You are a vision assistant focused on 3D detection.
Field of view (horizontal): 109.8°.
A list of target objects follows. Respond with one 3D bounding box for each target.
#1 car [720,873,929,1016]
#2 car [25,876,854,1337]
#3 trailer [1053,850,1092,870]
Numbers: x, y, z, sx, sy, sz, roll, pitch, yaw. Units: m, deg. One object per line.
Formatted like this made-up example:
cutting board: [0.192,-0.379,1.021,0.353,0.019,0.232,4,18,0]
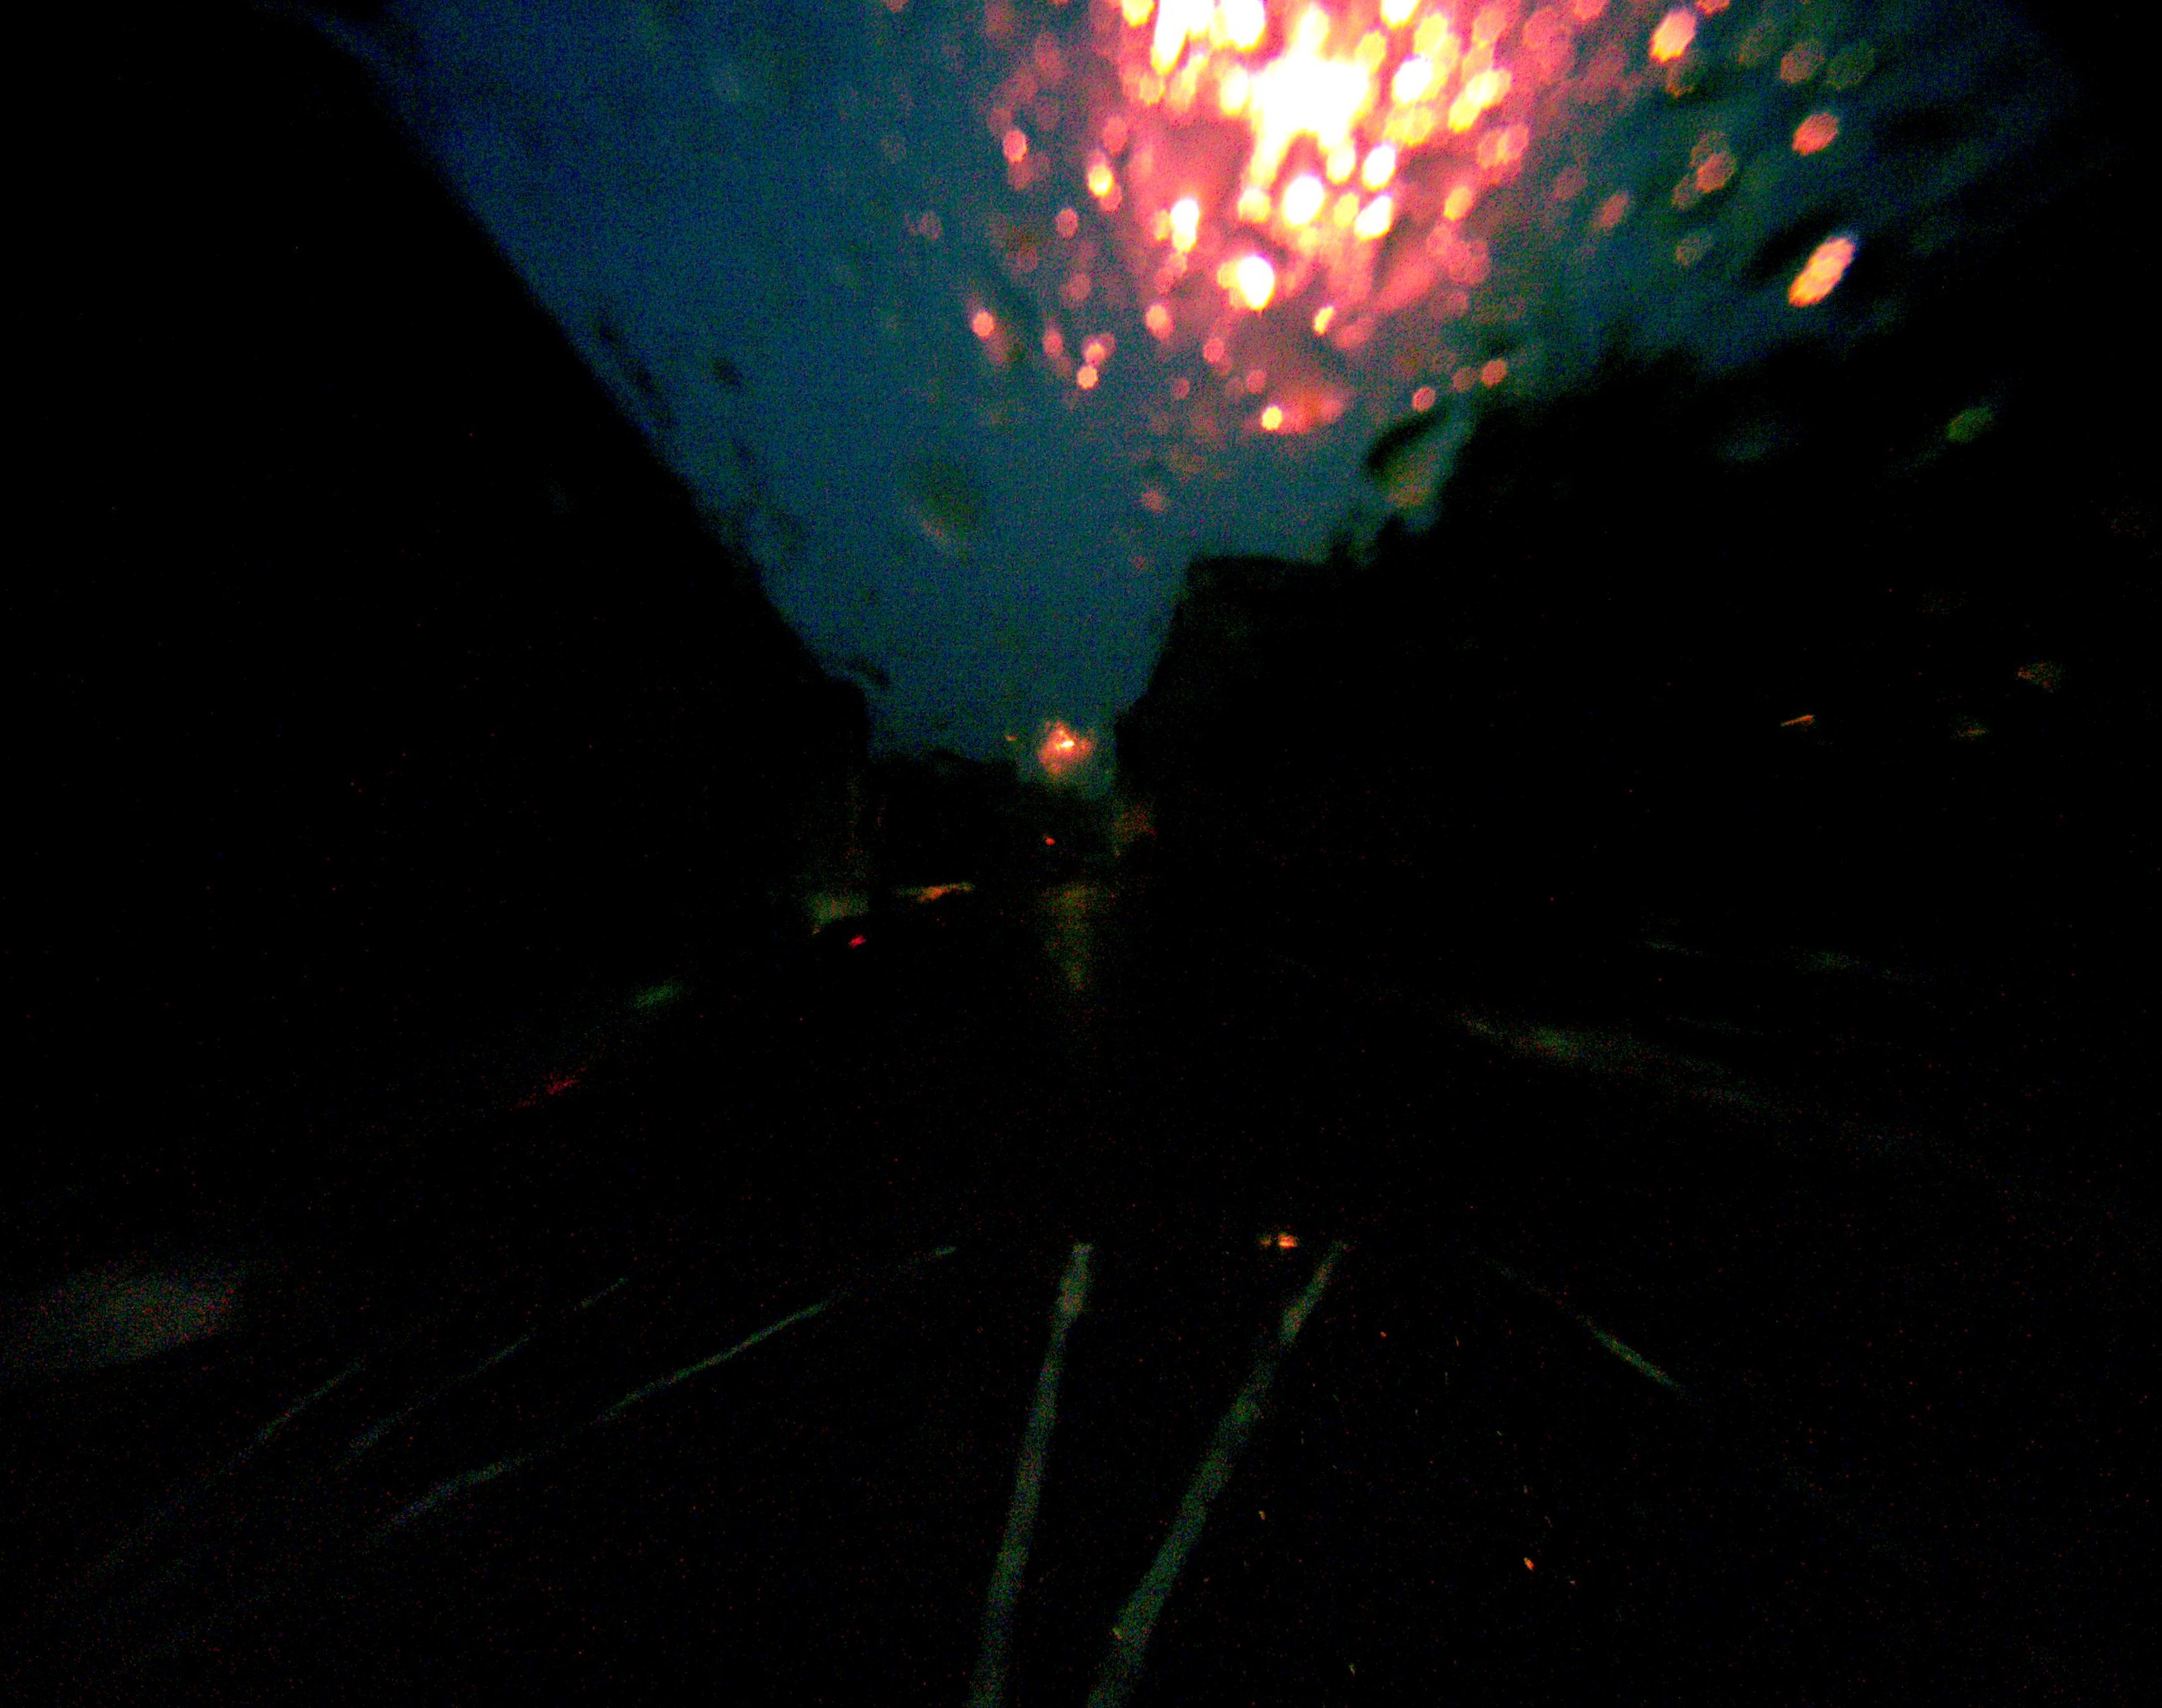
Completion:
car: [-3.319,1.078,10.633,1.721,1.490,3.906,-3,0,-3]
car: [-3.031,1.010,5.016,1.916,1.472,4.280,-2,1,-3]
trailer: [-0.666,0.458,61.568,1.997,1.380,4.735,-4,1,13]
